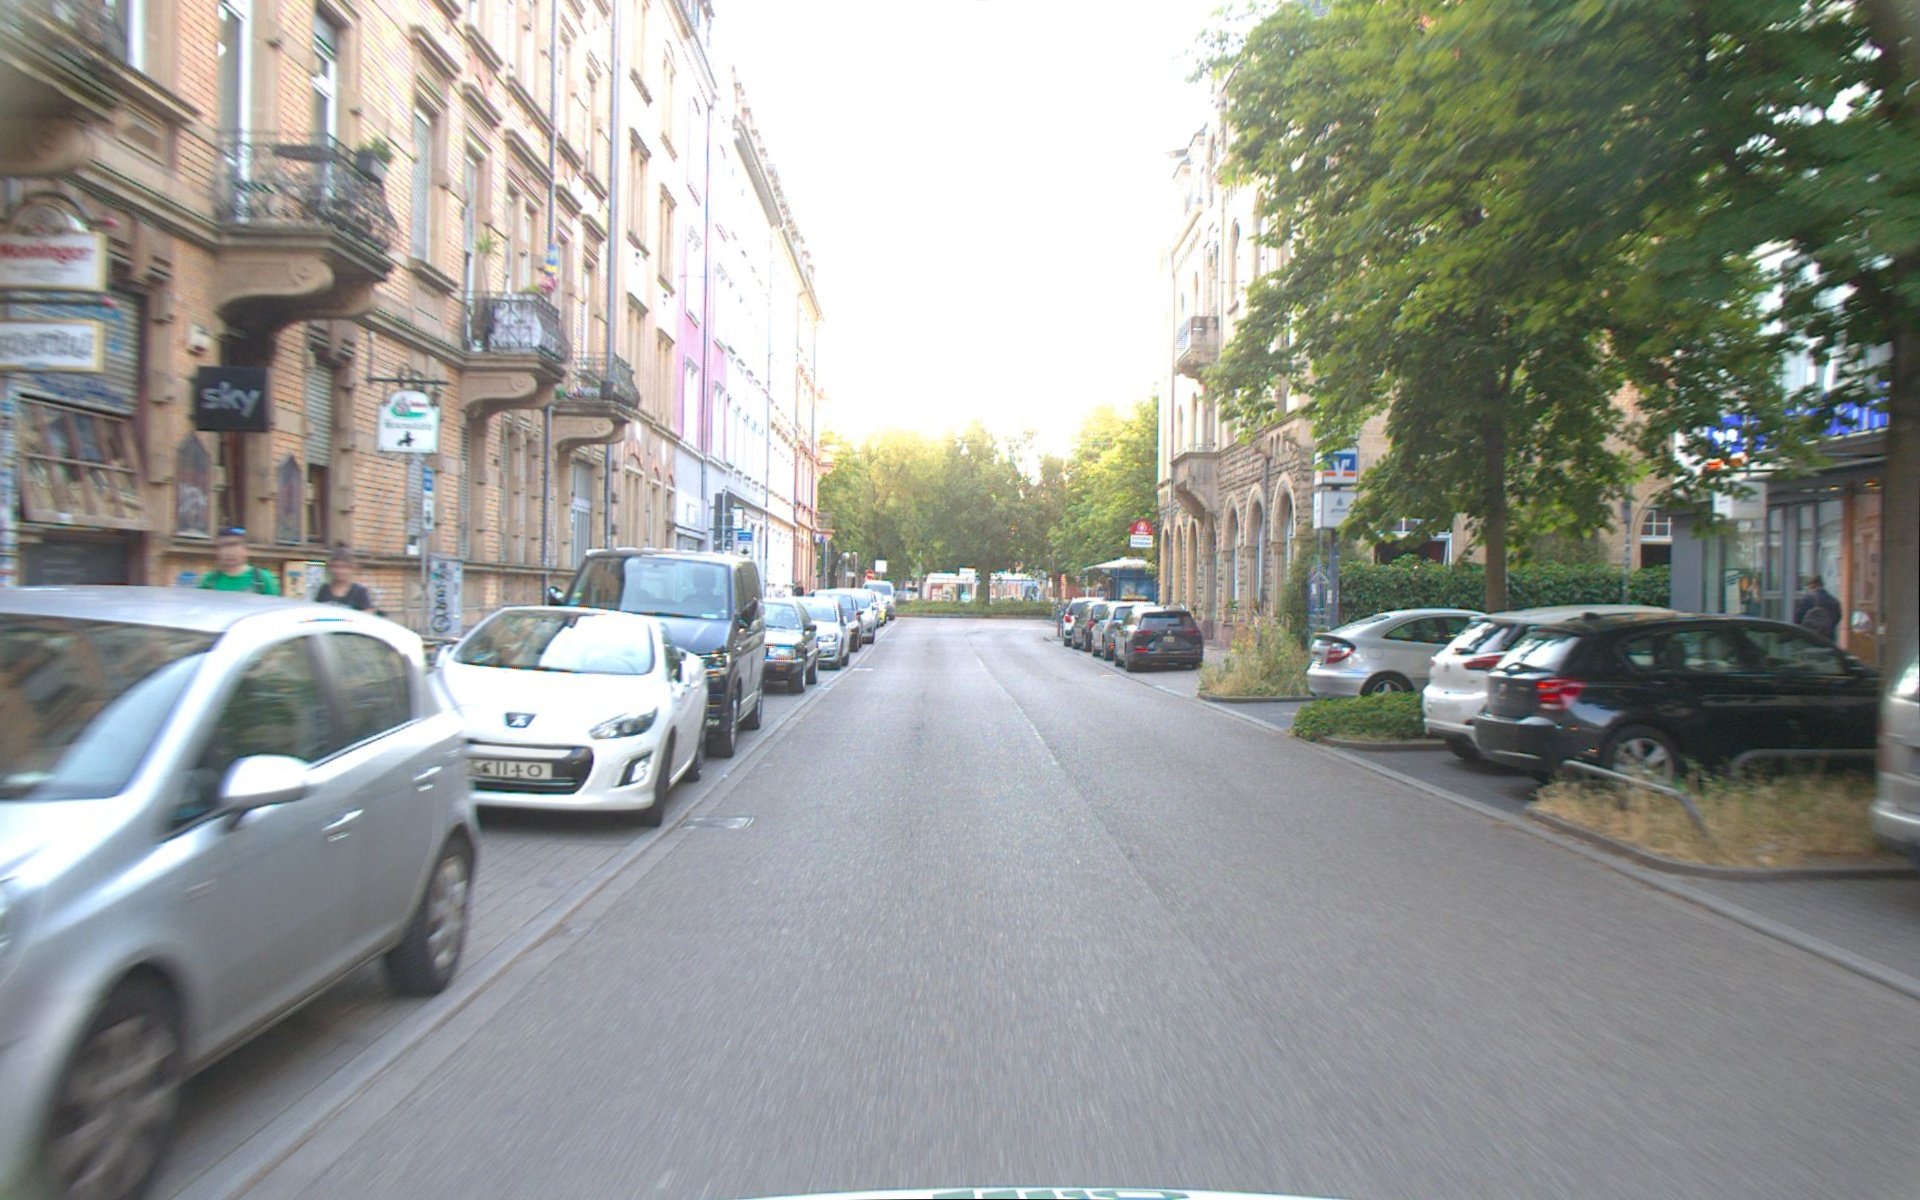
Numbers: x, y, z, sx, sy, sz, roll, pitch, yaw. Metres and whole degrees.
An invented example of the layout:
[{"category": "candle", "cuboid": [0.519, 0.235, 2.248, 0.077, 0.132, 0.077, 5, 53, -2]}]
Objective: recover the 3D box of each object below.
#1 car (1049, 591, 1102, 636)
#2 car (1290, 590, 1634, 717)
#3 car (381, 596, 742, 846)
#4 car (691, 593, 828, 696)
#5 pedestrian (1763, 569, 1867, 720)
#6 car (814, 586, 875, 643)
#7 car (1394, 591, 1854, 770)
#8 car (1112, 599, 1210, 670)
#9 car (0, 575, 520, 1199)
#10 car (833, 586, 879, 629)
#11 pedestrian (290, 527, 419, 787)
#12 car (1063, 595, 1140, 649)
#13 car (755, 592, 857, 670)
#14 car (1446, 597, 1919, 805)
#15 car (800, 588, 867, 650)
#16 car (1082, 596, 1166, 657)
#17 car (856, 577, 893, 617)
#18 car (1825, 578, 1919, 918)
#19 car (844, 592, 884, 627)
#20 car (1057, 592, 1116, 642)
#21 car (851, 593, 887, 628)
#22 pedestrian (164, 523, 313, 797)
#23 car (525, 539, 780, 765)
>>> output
[{"category": "car", "cuboid": [4.191, 0.470, 60.596, 1.642, 1.527, 4.018, -2, 0, 1]}, {"category": "car", "cuboid": [6.593, 0.679, 22.047, 4.002, 1.478, 1.883, -2, 0, 1]}, {"category": "car", "cuboid": [-2.739, 0.740, 12.417, 1.748, 1.447, 4.483, 3, 0, -3]}, {"category": "car", "cuboid": [-3.148, 0.669, 26.797, 1.701, 1.443, 4.777, 2, -1, -1]}, {"category": "pedestrian", "cuboid": [10.247, 0.522, 19.852, 0.712, 1.746, 0.963, -1, -1, -1]}, {"category": "car", "cuboid": [-3.615, 0.423, 51.743, 1.808, 1.688, 4.249, 1, 0, -4]}, {"category": "car", "cuboid": [6.318, 0.718, 15.965, 3.720, 1.478, 1.733, -2, 0, -6]}, {"category": "car", "cuboid": [4.560, 0.746, 38.096, 1.642, 1.454, 4.478, -3, 0, 0]}, {"category": "car", "cuboid": [-2.709, 0.696, 4.871, 1.682, 1.483, 4.000, 2, 0, 0]}, {"category": "car", "cuboid": [-4.239, 0.288, 67.850, 1.664, 1.649, 4.021, 2, 0, -1]}, {"category": "pedestrian", "cuboid": [-4.392, 0.397, 12.043, 0.593, 1.803, 0.776, 3, 1, -5]}, {"category": "car", "cuboid": [4.209, 0.637, 49.701, 1.643, 1.481, 3.797, -2, 0, -5]}, {"category": "car", "cuboid": [-3.283, 0.629, 36.046, 1.797, 1.483, 4.206, 4, 0, -1]}, {"category": "car", "cuboid": [6.167, 0.754, 13.383, 3.908, 1.481, 1.827, -1, 0, -3]}, {"category": "car", "cuboid": [-3.448, 0.491, 45.566, 1.603, 1.593, 3.780, 2, 0, -2]}, {"category": "car", "cuboid": [4.323, 0.665, 44.136, 1.642, 1.481, 4.228, -2, 0, -2]}, {"category": "car", "cuboid": [-4.574, -0.150, 88.180, 1.775, 2.011, 4.182, 2, 0, -5]}, {"category": "car", "cuboid": [6.886, 0.684, 8.172, 4.310, 1.676, 1.746, -1, 0, -2]}, {"category": "car", "cuboid": [-4.300, 0.400, 74.105, 1.665, 1.451, 4.019, 2, 0, -3]}, {"category": "car", "cuboid": [4.136, 0.539, 54.725, 1.642, 1.527, 3.901, -2, 0, 1]}, {"category": "car", "cuboid": [-4.417, 0.482, 80.035, 1.665, 1.579, 4.019, 2, 0, -3]}, {"category": "pedestrian", "cuboid": [-5.017, 0.391, 11.559, 0.568, 1.802, 0.997, 3, 1, -5]}, {"category": "car", "cuboid": [-3.044, 0.464, 17.444, 1.954, 1.957, 4.948, 3, 0, -3]}]
